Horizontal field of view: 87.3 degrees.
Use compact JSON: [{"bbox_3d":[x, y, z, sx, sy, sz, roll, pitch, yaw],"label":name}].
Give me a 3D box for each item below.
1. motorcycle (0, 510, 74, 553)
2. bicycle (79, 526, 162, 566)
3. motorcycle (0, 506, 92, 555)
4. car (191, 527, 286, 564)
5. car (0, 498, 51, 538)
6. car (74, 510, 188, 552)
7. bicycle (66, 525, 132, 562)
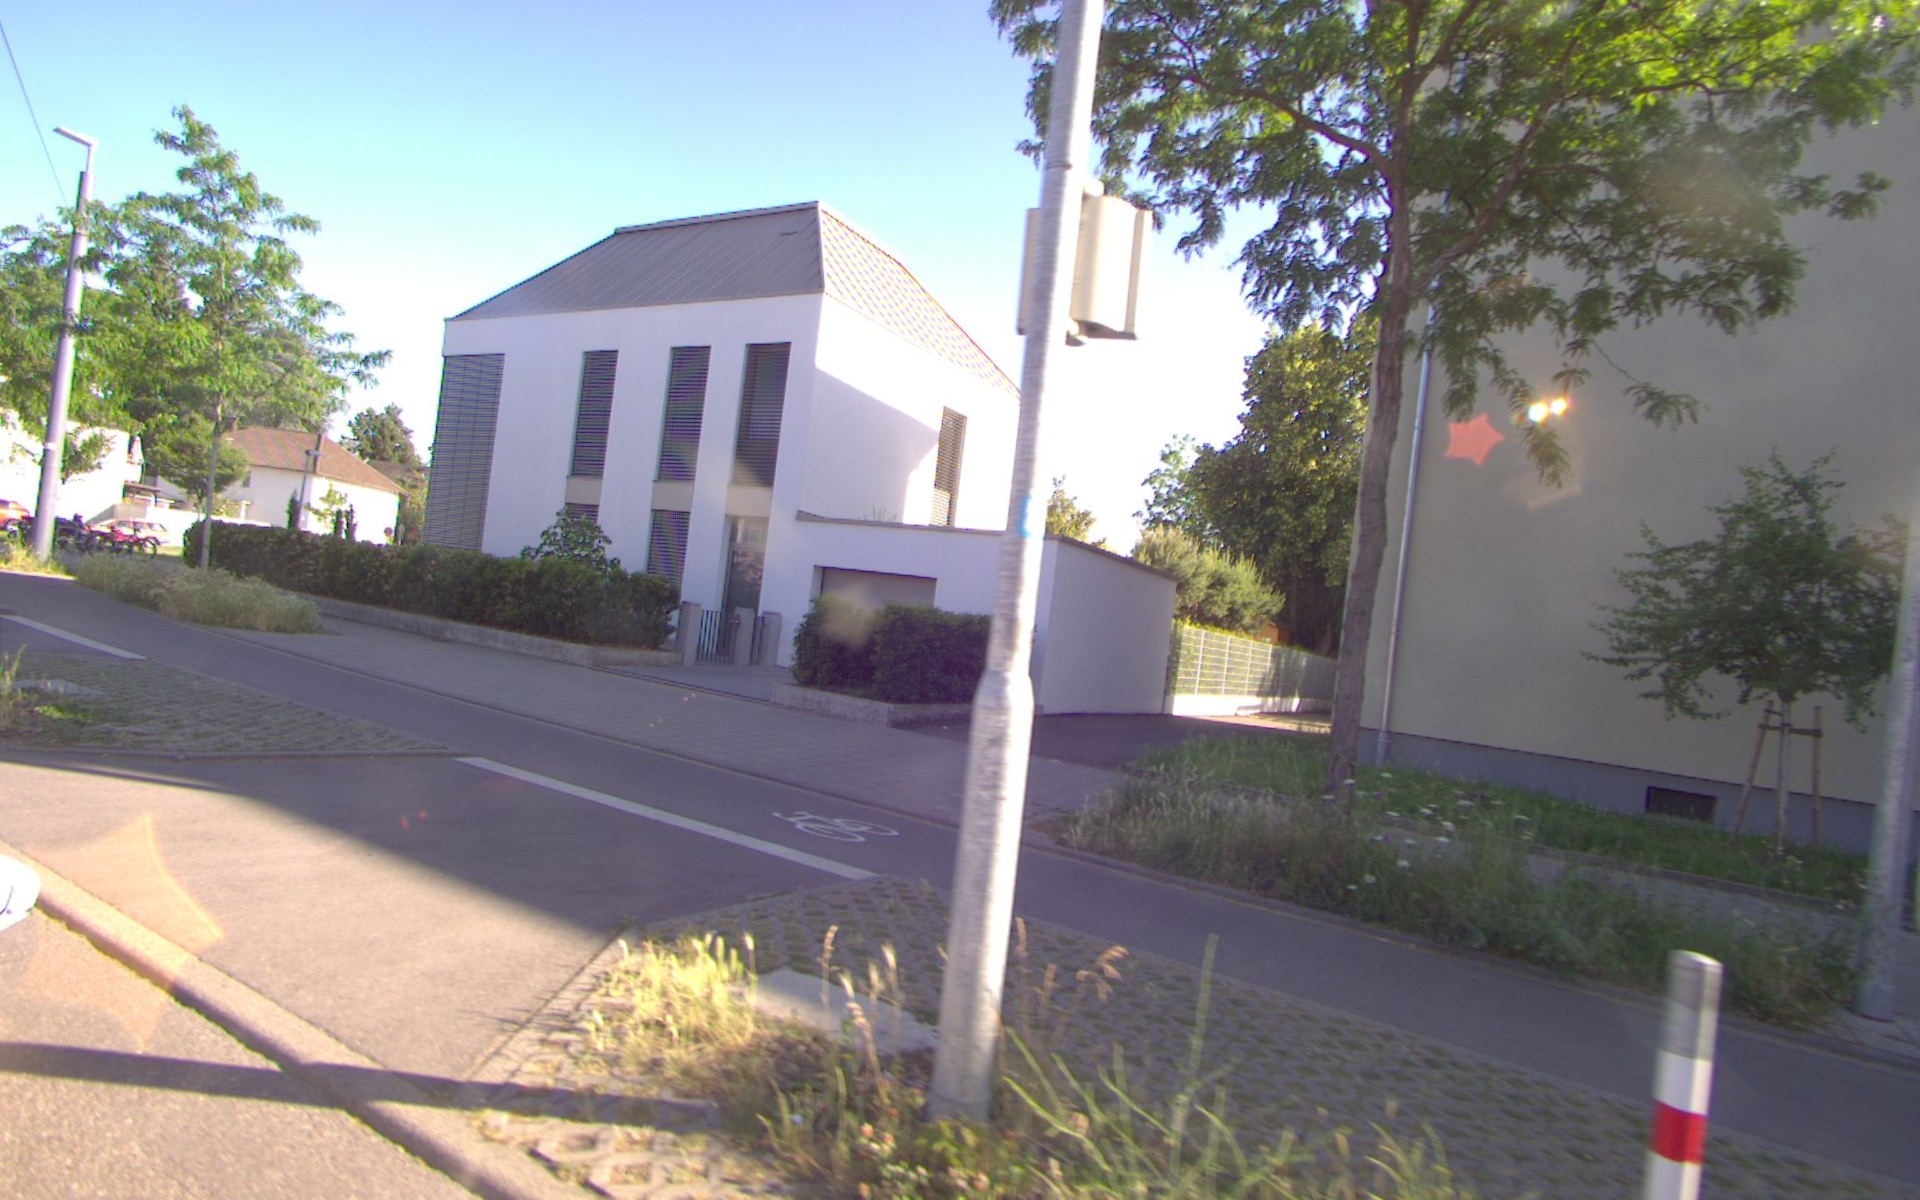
[{"bbox_3d":[-31.651,-2.337,34.249,0.846,1.171,2.004,6,-1,24],"label":"motorcycle"},{"bbox_3d":[-26.024,-1.655,31.228,0.482,0.990,1.903,7,-1,24],"label":"bicycle"},{"bbox_3d":[-30.337,-2.278,33.389,0.846,1.289,2.084,7,-1,24],"label":"motorcycle"},{"bbox_3d":[-42.353,-3.187,59.177,1.944,1.525,4.181,7,-2,13],"label":"car"},{"bbox_3d":[-46.909,-4.179,48.421,1.948,1.661,4.173,6,-2,29],"label":"car"},{"bbox_3d":[-44.147,-3.656,53.682,1.946,1.525,4.176,7,-2,24],"label":"car"},{"bbox_3d":[-27.274,-1.784,31.893,0.408,0.990,1.474,7,-1,24],"label":"bicycle"}]
